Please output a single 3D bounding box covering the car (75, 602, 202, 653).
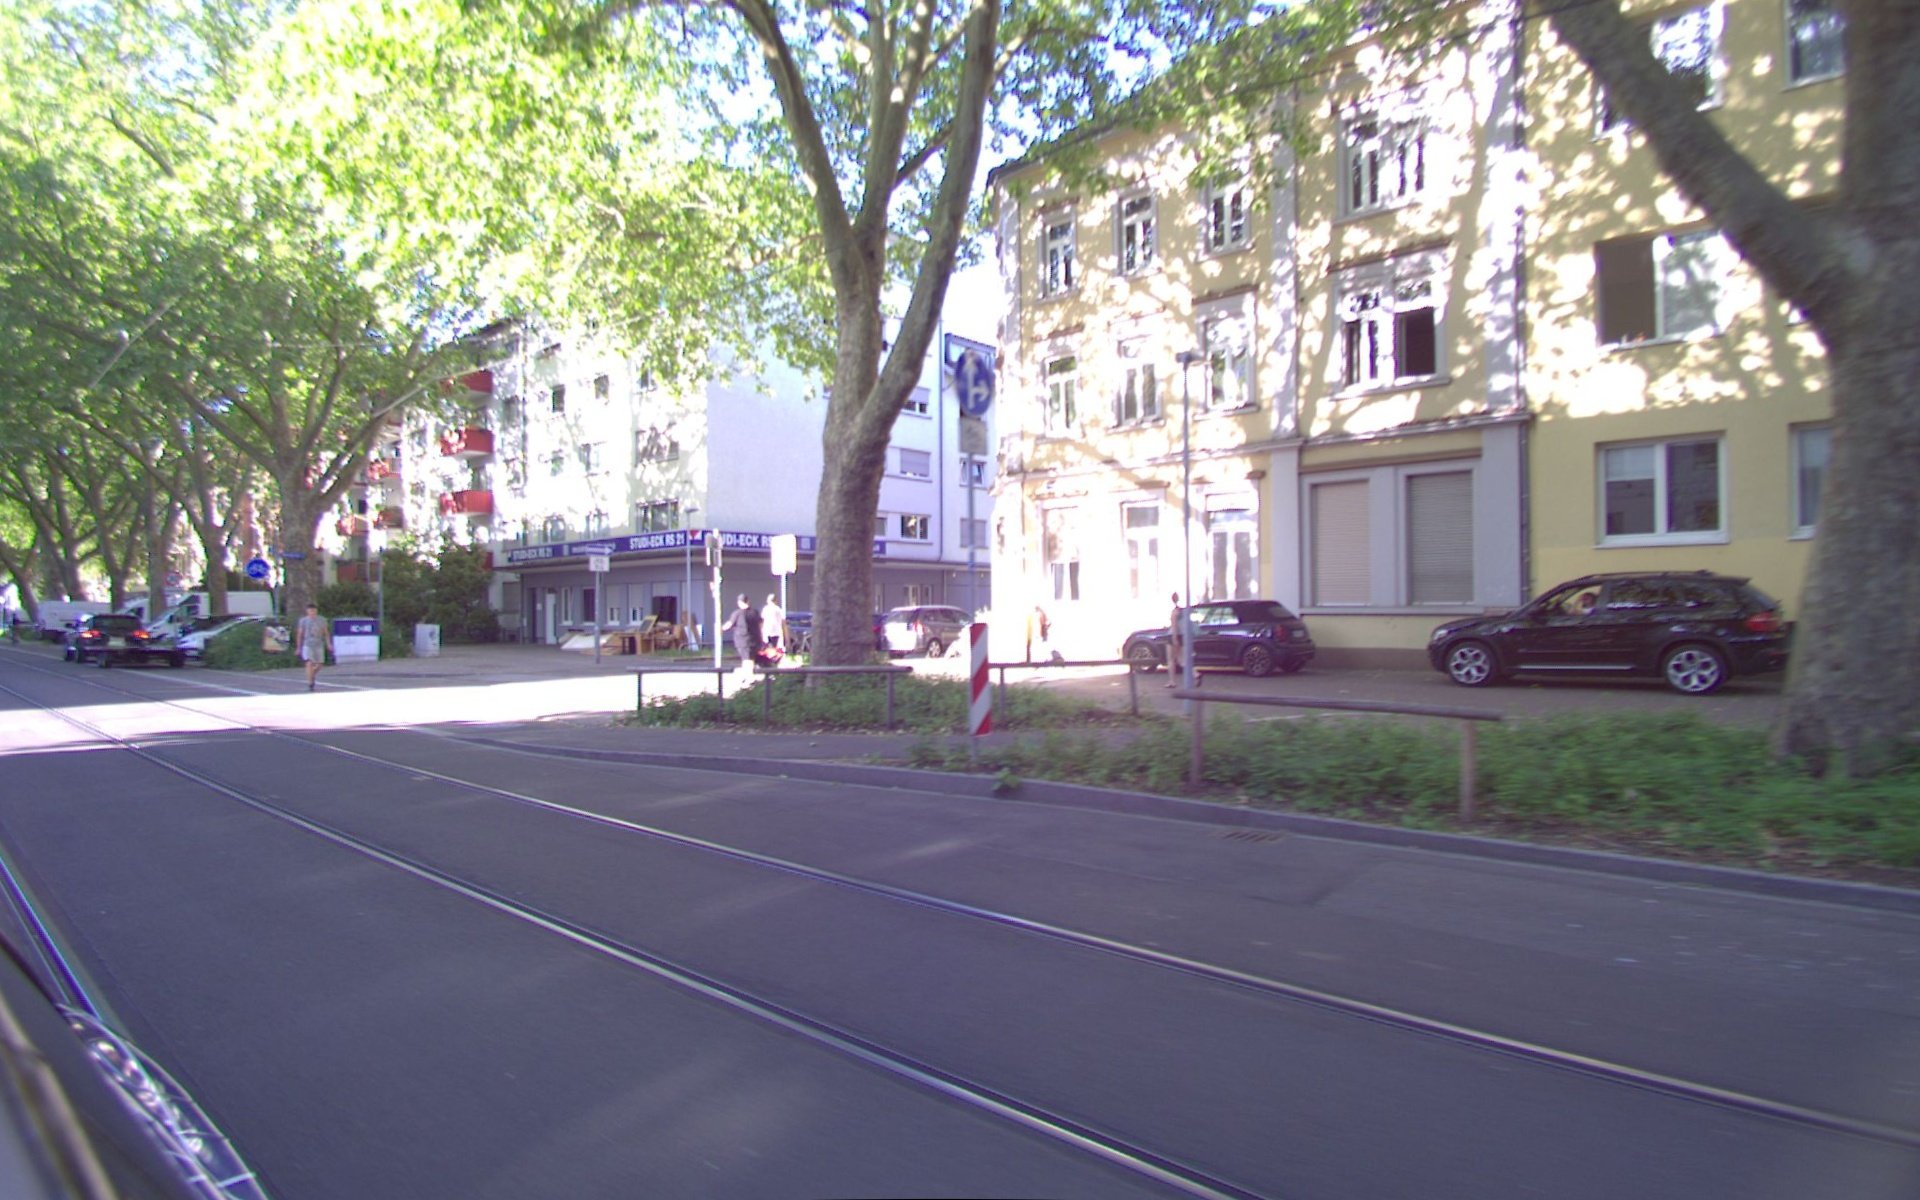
[{"bbox_3d":[-40.283,1.322,49.723,1.999,2.323,4.600,-1,0,42],"label":"car"}]

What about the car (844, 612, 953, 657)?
[{"bbox_3d":[-2.305,1.282,38.912,1.896,1.619,4.099,-1,-1,41],"label":"car"}]

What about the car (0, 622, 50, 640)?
[{"bbox_3d":[-86.588,2.829,93.186,1.998,1.478,3.947,-1,0,40],"label":"car"}]

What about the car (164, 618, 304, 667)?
[{"bbox_3d":[-27.513,1.551,38.419,1.998,1.657,3.947,-1,0,40],"label":"car"}]

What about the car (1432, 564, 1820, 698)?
[{"bbox_3d":[10.054,0.412,15.536,4.697,1.750,1.971,-1,0,44],"label":"car"}]

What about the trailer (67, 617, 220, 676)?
[{"bbox_3d":[-25.354,1.378,31.308,6.579,1.644,2.421,-1,-3,40],"label":"trailer"}]

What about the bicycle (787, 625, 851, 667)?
[{"bbox_3d":[-3.835,1.235,27.633,0.654,1.070,1.846,-1,0,34],"label":"bicycle"}]

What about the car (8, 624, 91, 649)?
[{"bbox_3d":[-61.867,2.444,68.781,1.998,1.478,3.947,-1,0,40],"label":"car"}]

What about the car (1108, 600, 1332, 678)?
[{"bbox_3d":[5.148,0.723,20.301,3.996,1.398,1.761,-1,0,40],"label":"car"}]

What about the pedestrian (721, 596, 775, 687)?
[{"bbox_3d":[-4.220,0.814,20.189,0.732,1.770,0.732,-1,0,31],"label":"pedestrian"}]

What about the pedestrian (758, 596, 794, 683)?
[{"bbox_3d":[-3.898,0.810,21.383,0.658,1.793,0.726,0,0,-16],"label":"pedestrian"}]

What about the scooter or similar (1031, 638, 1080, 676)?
[{"bbox_3d":[2.018,1.192,21.398,0.896,0.759,0.523,-1,0,40],"label":"scooter or similar"}]

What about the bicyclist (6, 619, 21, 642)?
[{"bbox_3d":[-52.160,1.688,55.767,0.666,1.222,0.526,-1,0,42],"label":"bicyclist"}]

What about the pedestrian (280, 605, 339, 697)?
[{"bbox_3d":[-13.143,1.004,20.453,0.798,1.805,0.693,-1,0,29],"label":"pedestrian"}]

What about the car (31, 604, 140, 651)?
[{"bbox_3d":[-51.243,1.550,59.382,1.999,2.552,4.600,-1,0,42],"label":"car"}]

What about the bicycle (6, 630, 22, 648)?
[{"bbox_3d":[-52.119,2.131,55.731,1.557,0.913,0.526,-1,0,42],"label":"bicycle"}]

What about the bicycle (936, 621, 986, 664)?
[{"bbox_3d":[0.040,1.159,28.185,0.652,1.070,1.853,-5,-1,23],"label":"bicycle"}]

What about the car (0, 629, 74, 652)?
[{"bbox_3d":[-66.624,2.895,72.925,1.998,1.478,3.947,-1,0,40],"label":"car"}]

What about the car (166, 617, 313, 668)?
[{"bbox_3d":[-25.775,1.467,36.299,1.907,1.622,3.947,-1,0,40],"label":"car"}]

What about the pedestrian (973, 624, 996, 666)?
[{"bbox_3d":[0.637,1.158,26.177,0.540,1.048,0.542,-1,0,9],"label":"pedestrian"}]

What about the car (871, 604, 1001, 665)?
[{"bbox_3d":[-0.696,1.057,31.526,1.799,1.650,3.960,-6,-3,41],"label":"car"}]

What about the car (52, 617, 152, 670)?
[{"bbox_3d":[-29.504,1.462,34.764,4.179,1.696,1.903,-1,-3,40],"label":"car"}]

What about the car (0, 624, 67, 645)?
[{"bbox_3d":[-73.693,2.732,80.344,1.998,1.478,3.947,-1,0,40],"label":"car"}]

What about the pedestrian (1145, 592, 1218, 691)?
[{"bbox_3d":[3.845,0.703,17.559,1.008,1.650,0.704,-1,0,39],"label":"pedestrian"}]

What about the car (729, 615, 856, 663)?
[{"bbox_3d":[-5.740,1.299,35.044,1.834,1.489,4.099,-1,0,41],"label":"car"}]

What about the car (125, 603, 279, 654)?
[{"bbox_3d":[-33.256,1.193,44.546,1.997,2.010,5.073,-1,0,37],"label":"car"}]

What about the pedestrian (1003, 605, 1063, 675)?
[{"bbox_3d":[1.616,0.862,22.376,1.068,1.490,0.765,-1,0,40],"label":"pedestrian"}]
